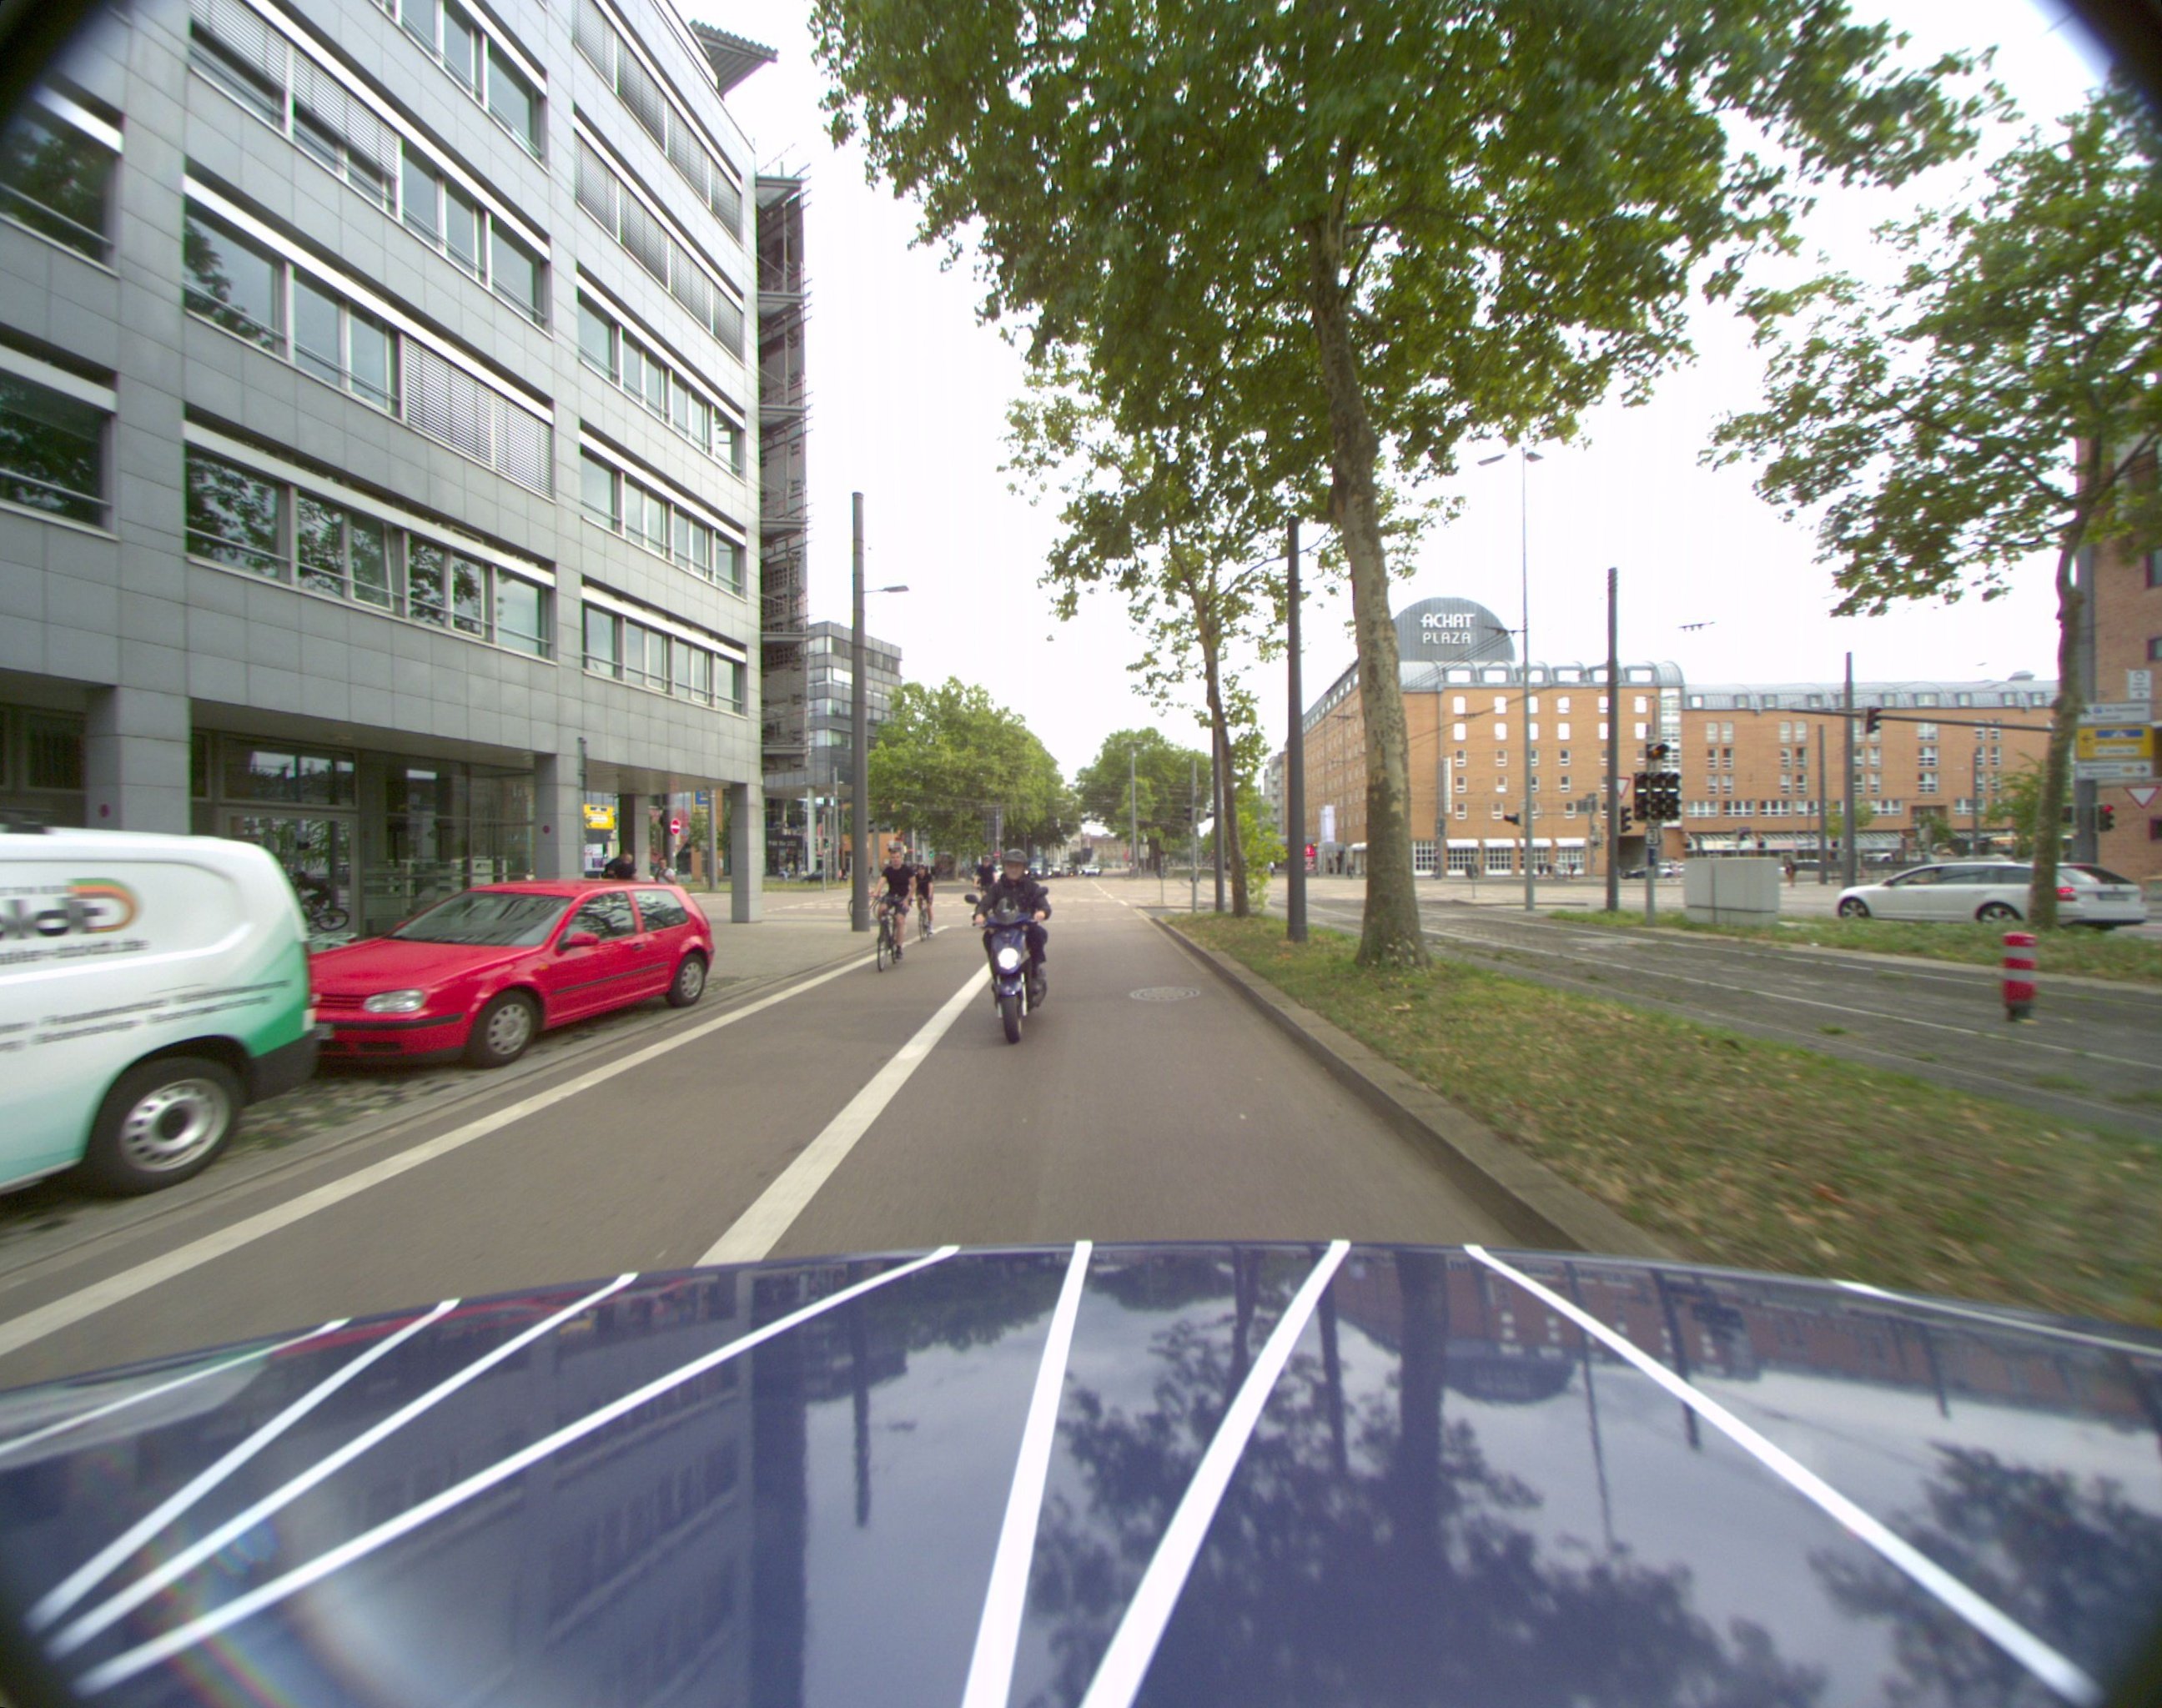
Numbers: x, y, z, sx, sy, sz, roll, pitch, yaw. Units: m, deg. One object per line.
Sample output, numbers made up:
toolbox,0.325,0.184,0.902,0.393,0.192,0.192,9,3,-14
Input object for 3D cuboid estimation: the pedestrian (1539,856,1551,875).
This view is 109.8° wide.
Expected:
pedestrian,42.488,1.062,69.579,0.578,1.721,0.751,-1,0,-6

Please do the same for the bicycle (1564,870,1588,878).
bicycle,46.181,1.863,70.922,1.796,0.777,0.640,0,1,-2

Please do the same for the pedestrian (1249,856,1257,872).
pedestrian,18.318,1.066,80.998,0.684,1.696,0.534,0,1,-8

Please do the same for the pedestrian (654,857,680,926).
pedestrian,-10.504,0.944,19.270,0.557,1.716,0.494,0,-1,-27

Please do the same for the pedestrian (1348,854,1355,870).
pedestrian,27.948,0.813,78.555,0.563,1.696,0.535,0,1,1

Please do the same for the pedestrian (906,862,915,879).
pedestrian,-17.515,1.671,78.028,0.587,1.721,0.744,-1,0,9

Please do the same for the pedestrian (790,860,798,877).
pedestrian,-31.081,1.540,82.272,0.627,1.855,0.671,0,0,-34

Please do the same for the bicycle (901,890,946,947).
bicycle,-3.452,1.398,16.795,0.595,1.132,1.735,0,0,1

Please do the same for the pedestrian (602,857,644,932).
pedestrian,-10.819,0.945,17.957,0.546,1.716,0.644,0,-1,12

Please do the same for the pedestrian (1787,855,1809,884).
pedestrian,42.291,0.920,44.813,0.578,1.722,0.751,0,1,-1

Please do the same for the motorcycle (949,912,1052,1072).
motorcycle,-0.690,1.197,7.224,0.769,1.101,2.207,0,0,-1

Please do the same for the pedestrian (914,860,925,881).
pedestrian,-13.573,1.379,63.892,0.678,1.781,0.669,0,1,3

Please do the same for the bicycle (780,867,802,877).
bicycle,-29.064,1.821,76.175,2.002,1.005,0.638,0,1,8

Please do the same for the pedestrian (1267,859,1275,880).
pedestrian,19.579,1.589,78.254,0.564,2.118,0.534,0,1,-8

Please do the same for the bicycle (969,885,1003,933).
bicycle,-2.427,1.384,19.534,0.595,1.132,1.858,0,0,1

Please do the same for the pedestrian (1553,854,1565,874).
pedestrian,42.097,0.859,66.946,0.578,1.722,0.750,0,1,-6

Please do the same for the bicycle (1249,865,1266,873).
bicycle,18.374,1.578,79.196,1.710,0.883,0.499,0,1,4

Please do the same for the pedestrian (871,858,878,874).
pedestrian,-23.923,1.427,88.164,0.545,1.855,0.515,0,0,28

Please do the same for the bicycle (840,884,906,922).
bicycle,-6.503,1.520,23.773,1.900,1.132,0.727,0,0,19

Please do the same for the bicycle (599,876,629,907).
bicycle,-19.492,1.540,31.708,0.662,1.132,2.432,-2,3,-41

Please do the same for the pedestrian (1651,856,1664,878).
pedestrian,45.196,1.009,59.579,0.632,1.722,0.578,0,1,-10

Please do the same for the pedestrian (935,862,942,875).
pedestrian,-19.086,1.893,101.651,0.586,1.722,0.745,0,1,40

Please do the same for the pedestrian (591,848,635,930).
pedestrian,-11.713,0.883,19.039,0.603,2.001,0.676,0,-3,7

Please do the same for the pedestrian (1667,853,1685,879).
pedestrian,39.895,0.823,50.940,0.578,1.722,0.751,0,1,-1

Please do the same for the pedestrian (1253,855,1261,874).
pedestrian,18.317,1.085,78.889,0.693,1.940,0.534,0,1,-1

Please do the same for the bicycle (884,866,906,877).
bicycle,-18.443,1.740,75.496,2.002,1.005,0.638,0,0,8

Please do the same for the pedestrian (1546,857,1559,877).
pedestrian,41.407,1.137,66.727,0.578,1.722,0.750,0,1,-6

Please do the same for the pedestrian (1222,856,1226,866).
pedestrian,24.283,1.262,128.786,0.648,1.696,0.624,0,0,6

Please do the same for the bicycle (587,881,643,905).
bicycle,-21.081,1.758,34.384,2.202,1.051,0.684,0,3,11

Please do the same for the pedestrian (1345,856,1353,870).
pedestrian,29.445,0.979,83.584,0.536,1.498,0.648,-1,1,-34

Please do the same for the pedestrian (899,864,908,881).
pedestrian,-17.052,1.769,72.817,0.587,1.642,0.744,0,1,9

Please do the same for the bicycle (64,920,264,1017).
bicycle,-9.894,1.224,8.225,1.562,0.981,0.423,0,0,-3
